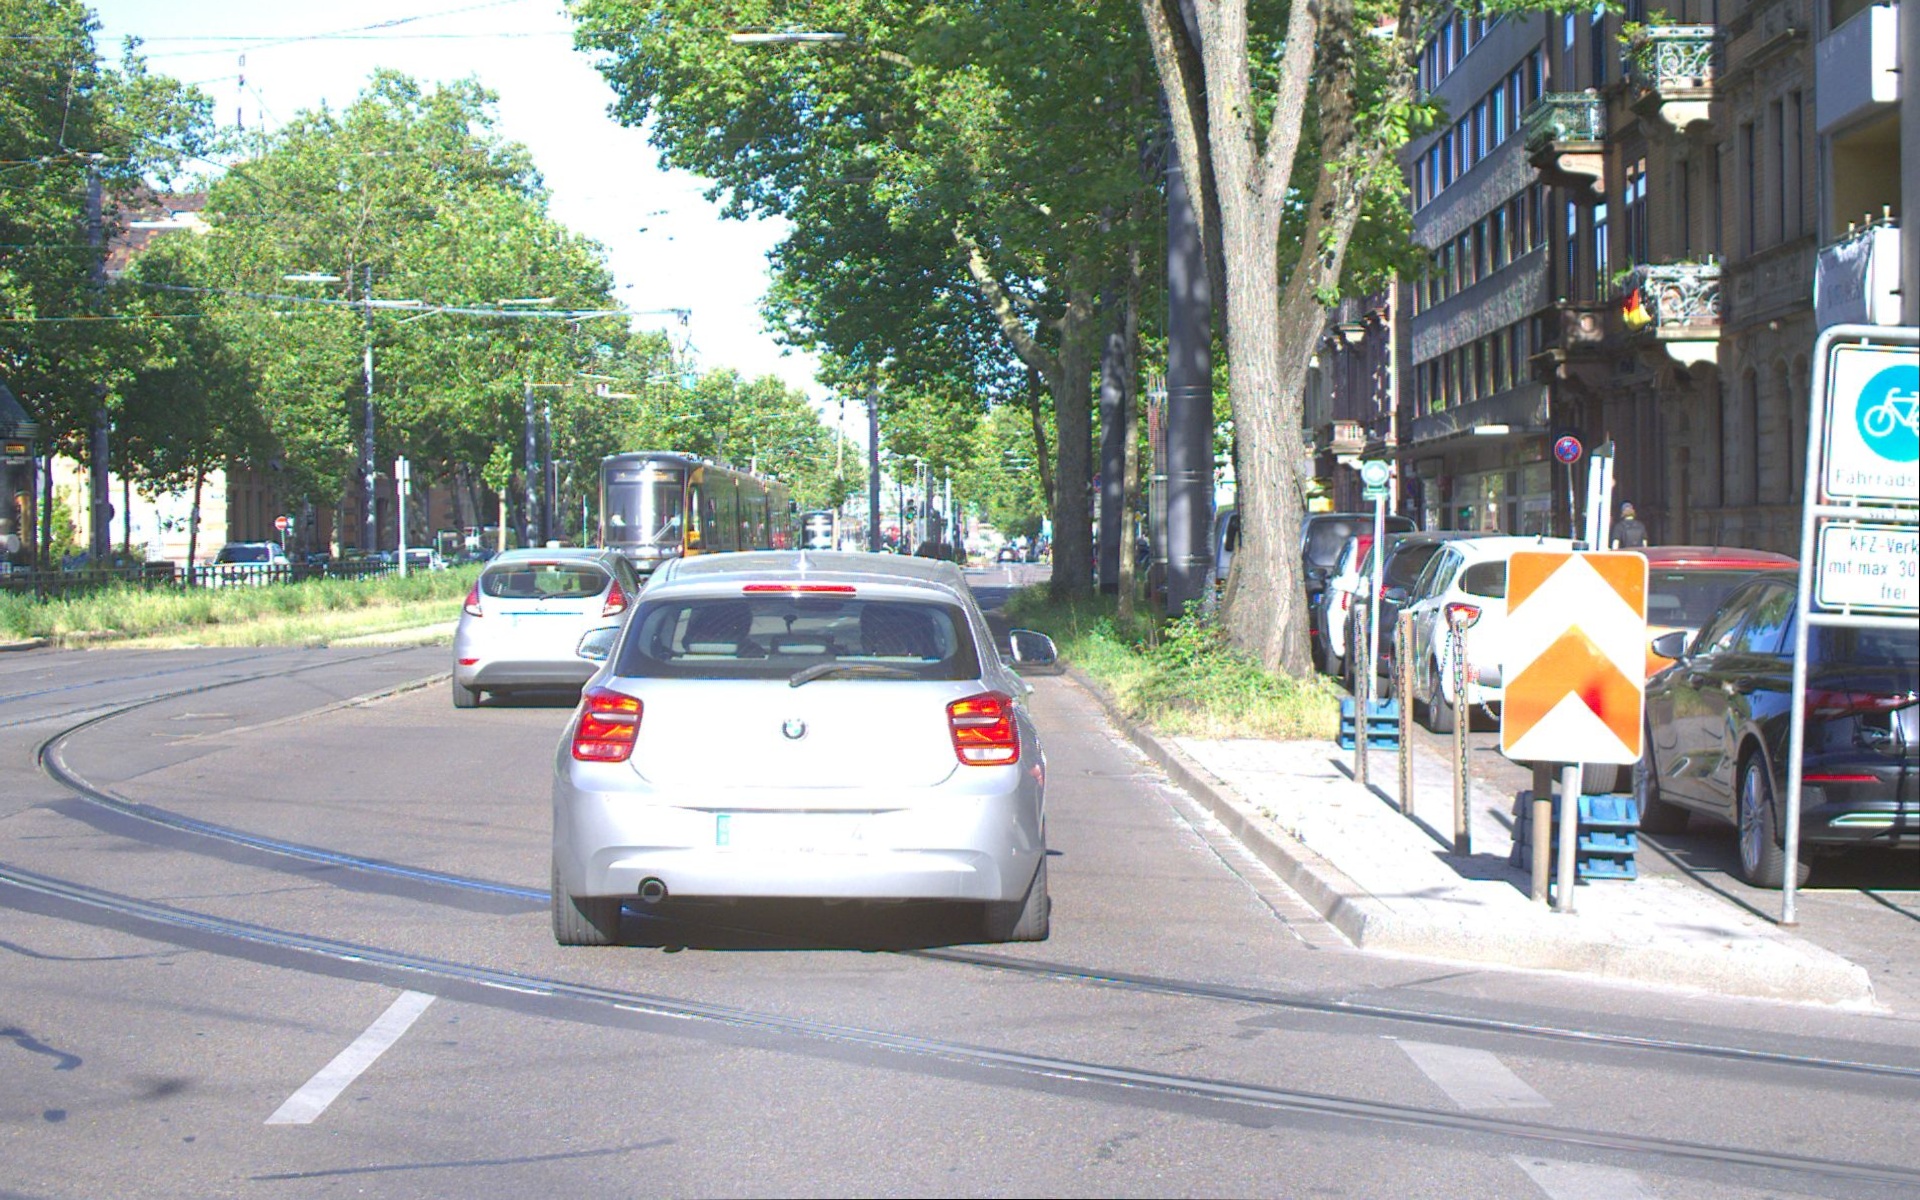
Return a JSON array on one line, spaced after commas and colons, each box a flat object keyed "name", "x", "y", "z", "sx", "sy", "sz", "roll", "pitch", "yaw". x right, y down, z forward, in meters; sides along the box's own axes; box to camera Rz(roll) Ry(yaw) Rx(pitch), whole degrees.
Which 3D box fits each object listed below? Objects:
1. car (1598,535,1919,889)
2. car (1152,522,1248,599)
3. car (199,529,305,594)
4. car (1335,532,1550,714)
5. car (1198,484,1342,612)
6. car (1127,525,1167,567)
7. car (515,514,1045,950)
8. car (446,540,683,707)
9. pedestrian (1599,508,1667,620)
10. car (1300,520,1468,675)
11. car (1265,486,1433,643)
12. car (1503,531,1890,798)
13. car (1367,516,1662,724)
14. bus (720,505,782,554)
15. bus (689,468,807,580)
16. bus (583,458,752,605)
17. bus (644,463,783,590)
[{"name": "car", "x": 4.308, "y": 0.448, "z": 16.491, "sx": 1.696, "sy": 1.416, "sz": 4.170, "roll": 2, "pitch": 2, "yaw": 0}, {"name": "car", "x": 4.968, "y": -0.840, "z": 71.652, "sx": 1.806, "sy": 1.484, "sz": 4.919, "roll": 2, "pitch": 1, "yaw": 2}, {"name": "car", "x": -19.207, "y": -1.061, "z": 93.404, "sx": 1.885, "sy": 1.614, "sz": 4.598, "roll": 2, "pitch": 2, "yaw": 0}, {"name": "car", "x": 4.372, "y": 0.164, "z": 31.571, "sx": 1.561, "sy": 1.480, "sz": 3.787, "roll": 2, "pitch": 2, "yaw": 3}, {"name": "car", "x": 4.701, "y": -0.831, "z": 52.684, "sx": 1.865, "sy": 1.809, "sz": 4.800, "roll": 2, "pitch": 2, "yaw": 2}, {"name": "car", "x": 9.048, "y": -2.644, "z": 166.597, "sx": 1.754, "sy": 1.958, "sz": 4.737, "roll": 1, "pitch": 2, "yaw": 1}, {"name": "car", "x": -0.591, "y": 0.391, "z": 13.475, "sx": 1.762, "sy": 1.427, "sz": 4.000, "roll": 0, "pitch": 2, "yaw": 0}, {"name": "car", "x": -3.597, "y": 0.172, "z": 31.824, "sx": 1.647, "sy": 1.358, "sz": 3.760, "roll": 2, "pitch": 2, "yaw": 1}, {"name": "pedestrian", "x": 11.117, "y": -0.600, "z": 56.818, "sx": 0.999, "sy": 1.833, "sz": 0.715, "roll": 0, "pitch": 1, "yaw": 3}, {"name": "car", "x": 4.386, "y": -0.066, "z": 35.931, "sx": 1.512, "sy": 1.475, "sz": 3.491, "roll": 2, "pitch": 2, "yaw": 4}, {"name": "car", "x": 4.441, "y": -0.452, "z": 39.720, "sx": 1.625, "sy": 1.662, "sz": 4.141, "roll": 2, "pitch": 2, "yaw": 3}, {"name": "car", "x": 4.511, "y": 0.330, "z": 21.581, "sx": 1.589, "sy": 1.429, "sz": 3.905, "roll": 2, "pitch": 2, "yaw": 1}, {"name": "car", "x": 4.338, "y": 0.106, "z": 27.401, "sx": 1.626, "sy": 1.472, "sz": 3.698, "roll": 2, "pitch": 2, "yaw": -1}, {"name": "bus", "x": -16.365, "y": -5.652, "z": 271.482, "sx": 2.869, "sy": 3.616, "sz": 24.604, "roll": 0, "pitch": 2, "yaw": 1}, {"name": "bus", "x": -6.765, "y": -2.459, "z": 111.295, "sx": 2.869, "sy": 3.432, "sz": 11.611, "roll": 0, "pitch": 1, "yaw": 1}, {"name": "bus", "x": -7.224, "y": -1.746, "z": 86.891, "sx": 2.869, "sy": 3.432, "sz": 13.217, "roll": 0, "pitch": 1, "yaw": 1}, {"name": "bus", "x": -7.016, "y": -2.138, "z": 99.535, "sx": 2.869, "sy": 3.432, "sz": 12.215, "roll": 0, "pitch": 1, "yaw": 1}]
